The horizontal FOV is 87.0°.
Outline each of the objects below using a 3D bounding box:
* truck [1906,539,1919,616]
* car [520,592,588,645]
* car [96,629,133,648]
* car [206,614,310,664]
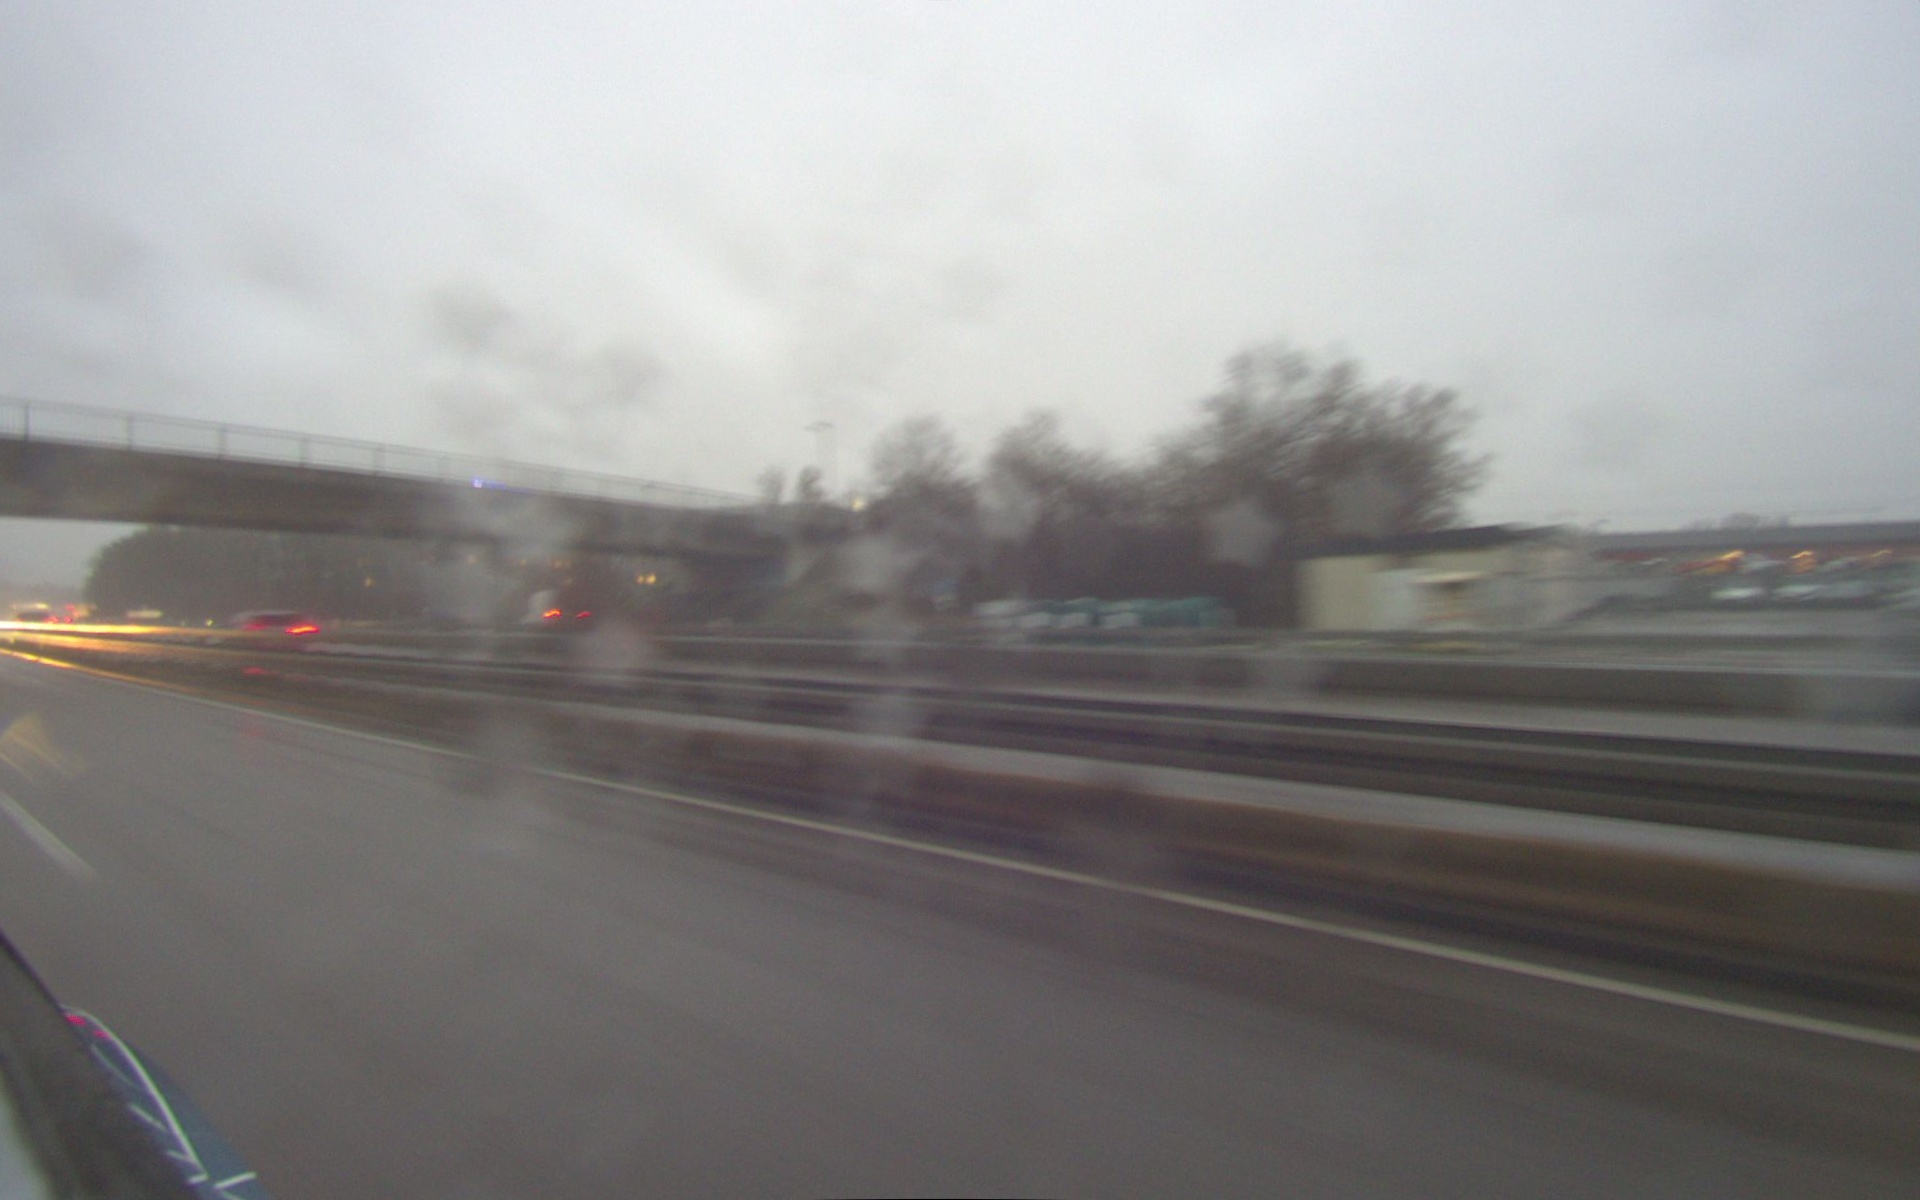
[{"bbox_3d":[34.195,-0.852,31.434,6.789,2.473,1.975,-2,1,38],"label":"truck"},{"bbox_3d":[-23.140,1.063,57.577,2.163,2.793,4.585,-3,1,-40],"label":"car"},{"bbox_3d":[-57.508,2.590,68.833,3.365,1.231,1.419,-2,-1,41],"label":"car"},{"bbox_3d":[-24.321,1.336,35.005,4.477,1.592,1.858,-2,-1,40],"label":"car"}]
